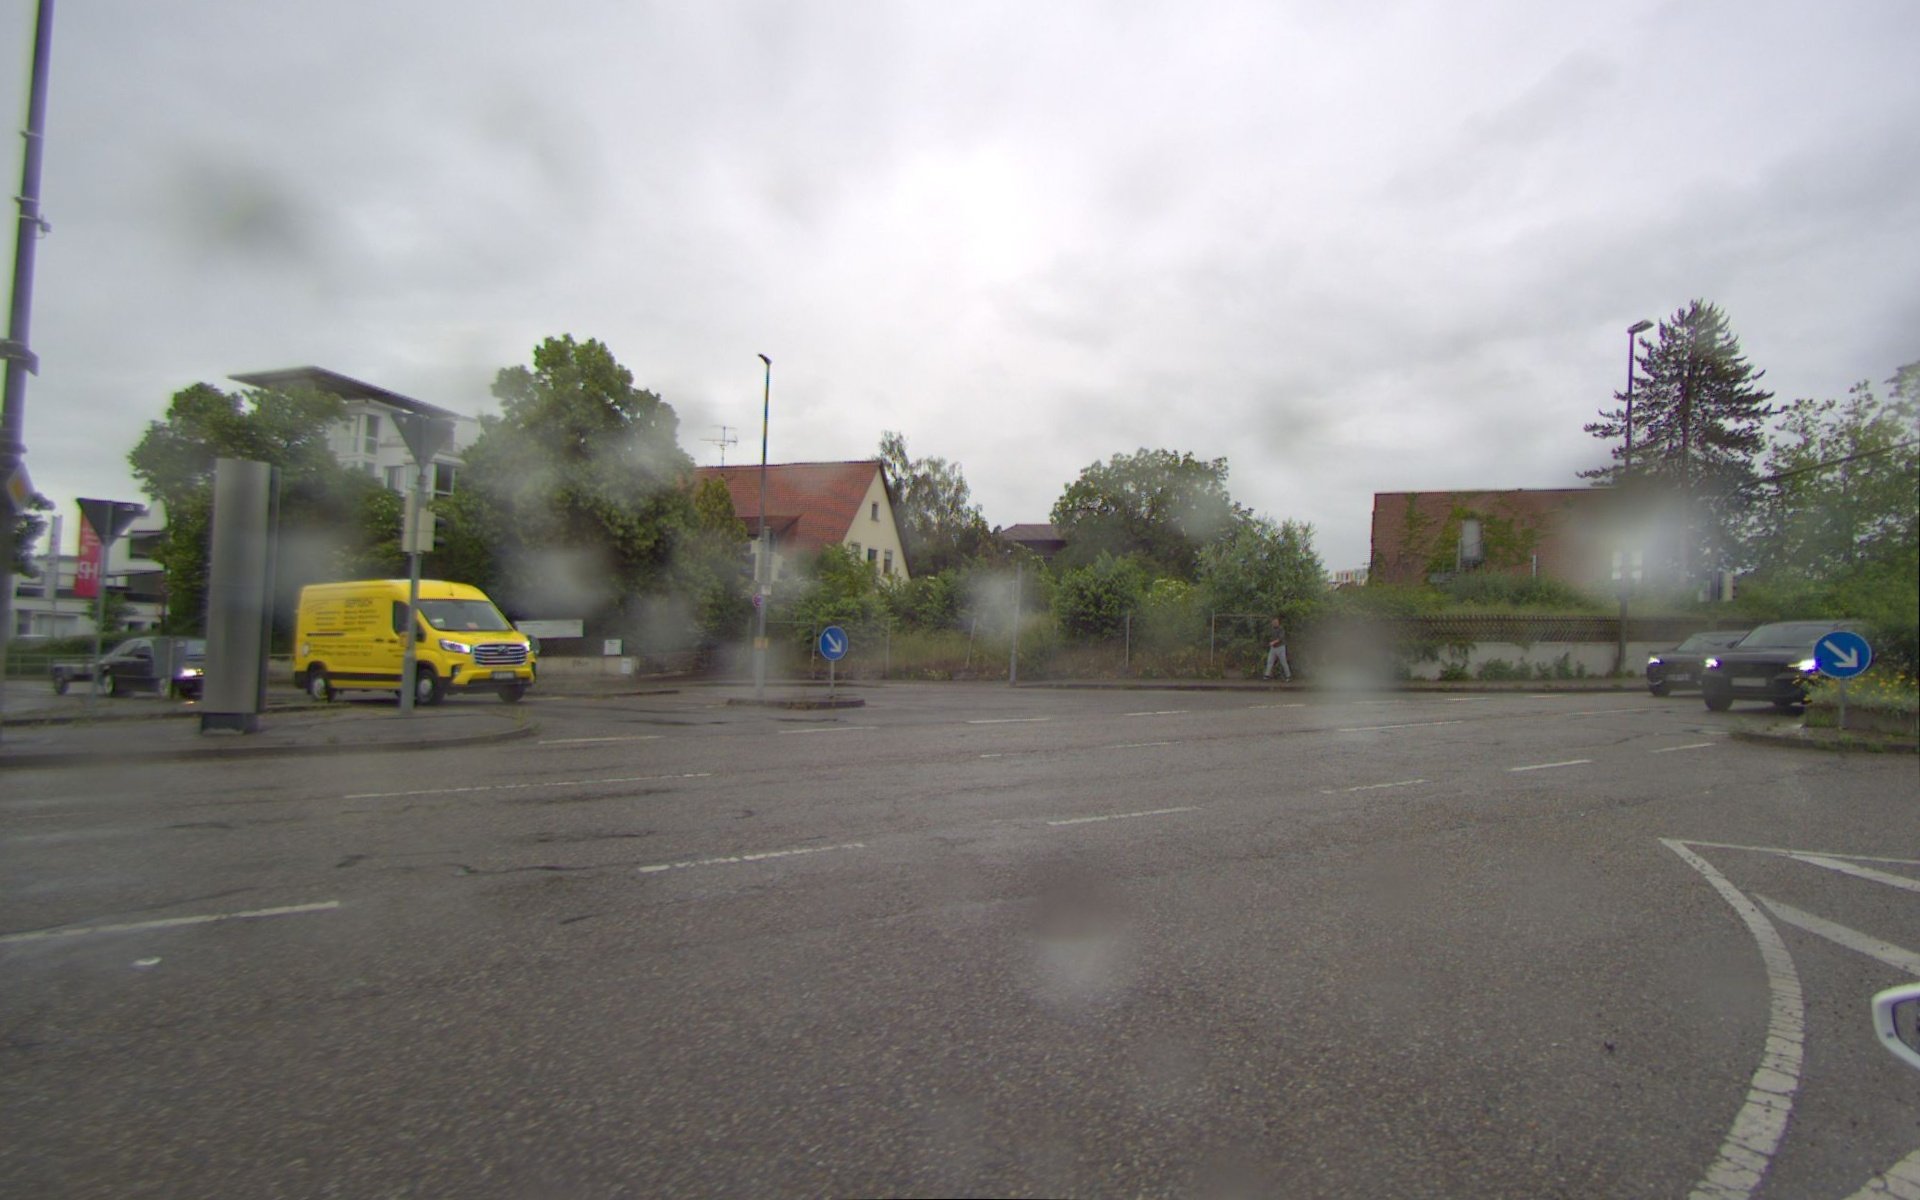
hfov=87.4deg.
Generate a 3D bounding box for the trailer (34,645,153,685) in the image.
[{"bbox_3d":[-22.596,1.685,26.206,2.244,0.991,1.607,-1,-3,27],"label":"trailer"}]

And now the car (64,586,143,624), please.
[{"bbox_3d":[-50.716,0.282,59.466,3.921,2.040,1.791,2,0,20],"label":"car"}]

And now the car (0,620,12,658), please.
[{"bbox_3d":[-54.453,2.066,55.237,3.921,2.040,1.791,2,0,20],"label":"car"}]

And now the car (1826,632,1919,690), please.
[{"bbox_3d":[27.929,1.787,30.033,3.955,1.599,1.983,2,-2,-32],"label":"car"}]

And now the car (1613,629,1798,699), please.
[{"bbox_3d":[17.300,1.476,23.295,4.246,1.497,1.941,2,-3,-30],"label":"car"}]

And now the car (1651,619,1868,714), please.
[{"bbox_3d":[14.821,1.186,18.585,4.028,1.572,1.893,2,-2,-31],"label":"car"}]

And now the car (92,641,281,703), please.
[{"bbox_3d":[-18.370,1.668,23.835,4.275,1.335,1.863,-1,-3,27],"label":"car"}]

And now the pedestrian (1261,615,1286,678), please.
[{"bbox_3d":[8.292,1.229,26.598,0.490,1.663,0.553,0,-2,0],"label":"pedestrian"}]

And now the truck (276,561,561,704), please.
[{"bbox_3d":[-11.156,0.699,20.571,6.066,2.571,2.225,-1,-3,30],"label":"truck"}]
